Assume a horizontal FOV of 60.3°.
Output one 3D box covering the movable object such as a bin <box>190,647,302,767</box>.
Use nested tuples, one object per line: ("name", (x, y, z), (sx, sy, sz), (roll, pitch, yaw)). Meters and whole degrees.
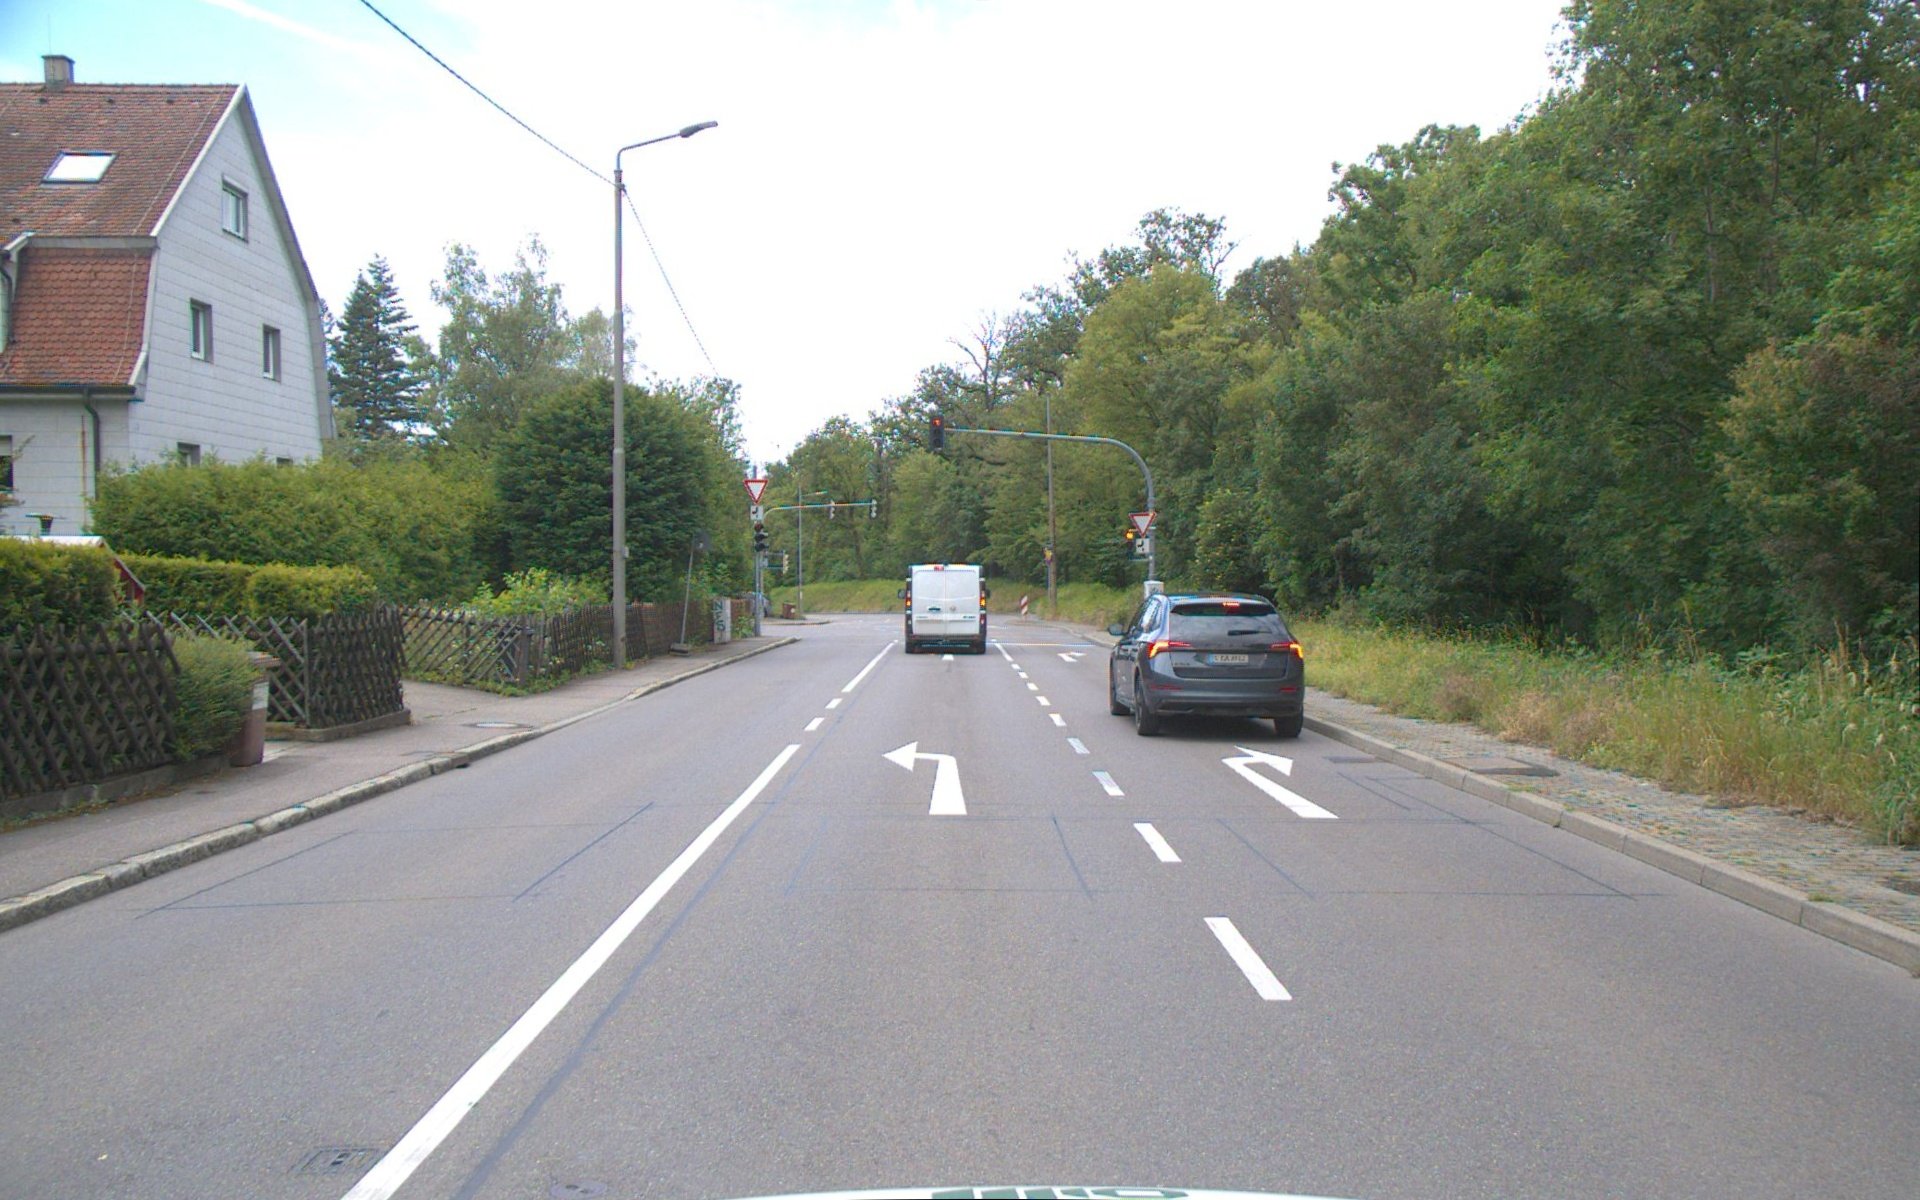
("movable object such as a bin", (-5.952, 0.880, 13.800), (0.619, 0.929, 0.561), (2, 1, 12))

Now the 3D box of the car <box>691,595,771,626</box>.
("car", (-12.396, 0.537, 89.494), (4.022, 1.580, 1.846), (0, 1, -18))

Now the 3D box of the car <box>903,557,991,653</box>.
("car", (-0.359, 0.087, 38.468), (1.878, 2.089, 4.612), (0, 0, -3))

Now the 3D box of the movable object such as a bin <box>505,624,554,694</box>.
("movable object such as a bin", (-6.040, 0.824, 23.214), (0.539, 0.954, 0.538), (0, 0, 1))

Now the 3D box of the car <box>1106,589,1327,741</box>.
("car", (2.696, 0.621, 18.237), (1.756, 1.476, 3.999), (0, 0, -1))
